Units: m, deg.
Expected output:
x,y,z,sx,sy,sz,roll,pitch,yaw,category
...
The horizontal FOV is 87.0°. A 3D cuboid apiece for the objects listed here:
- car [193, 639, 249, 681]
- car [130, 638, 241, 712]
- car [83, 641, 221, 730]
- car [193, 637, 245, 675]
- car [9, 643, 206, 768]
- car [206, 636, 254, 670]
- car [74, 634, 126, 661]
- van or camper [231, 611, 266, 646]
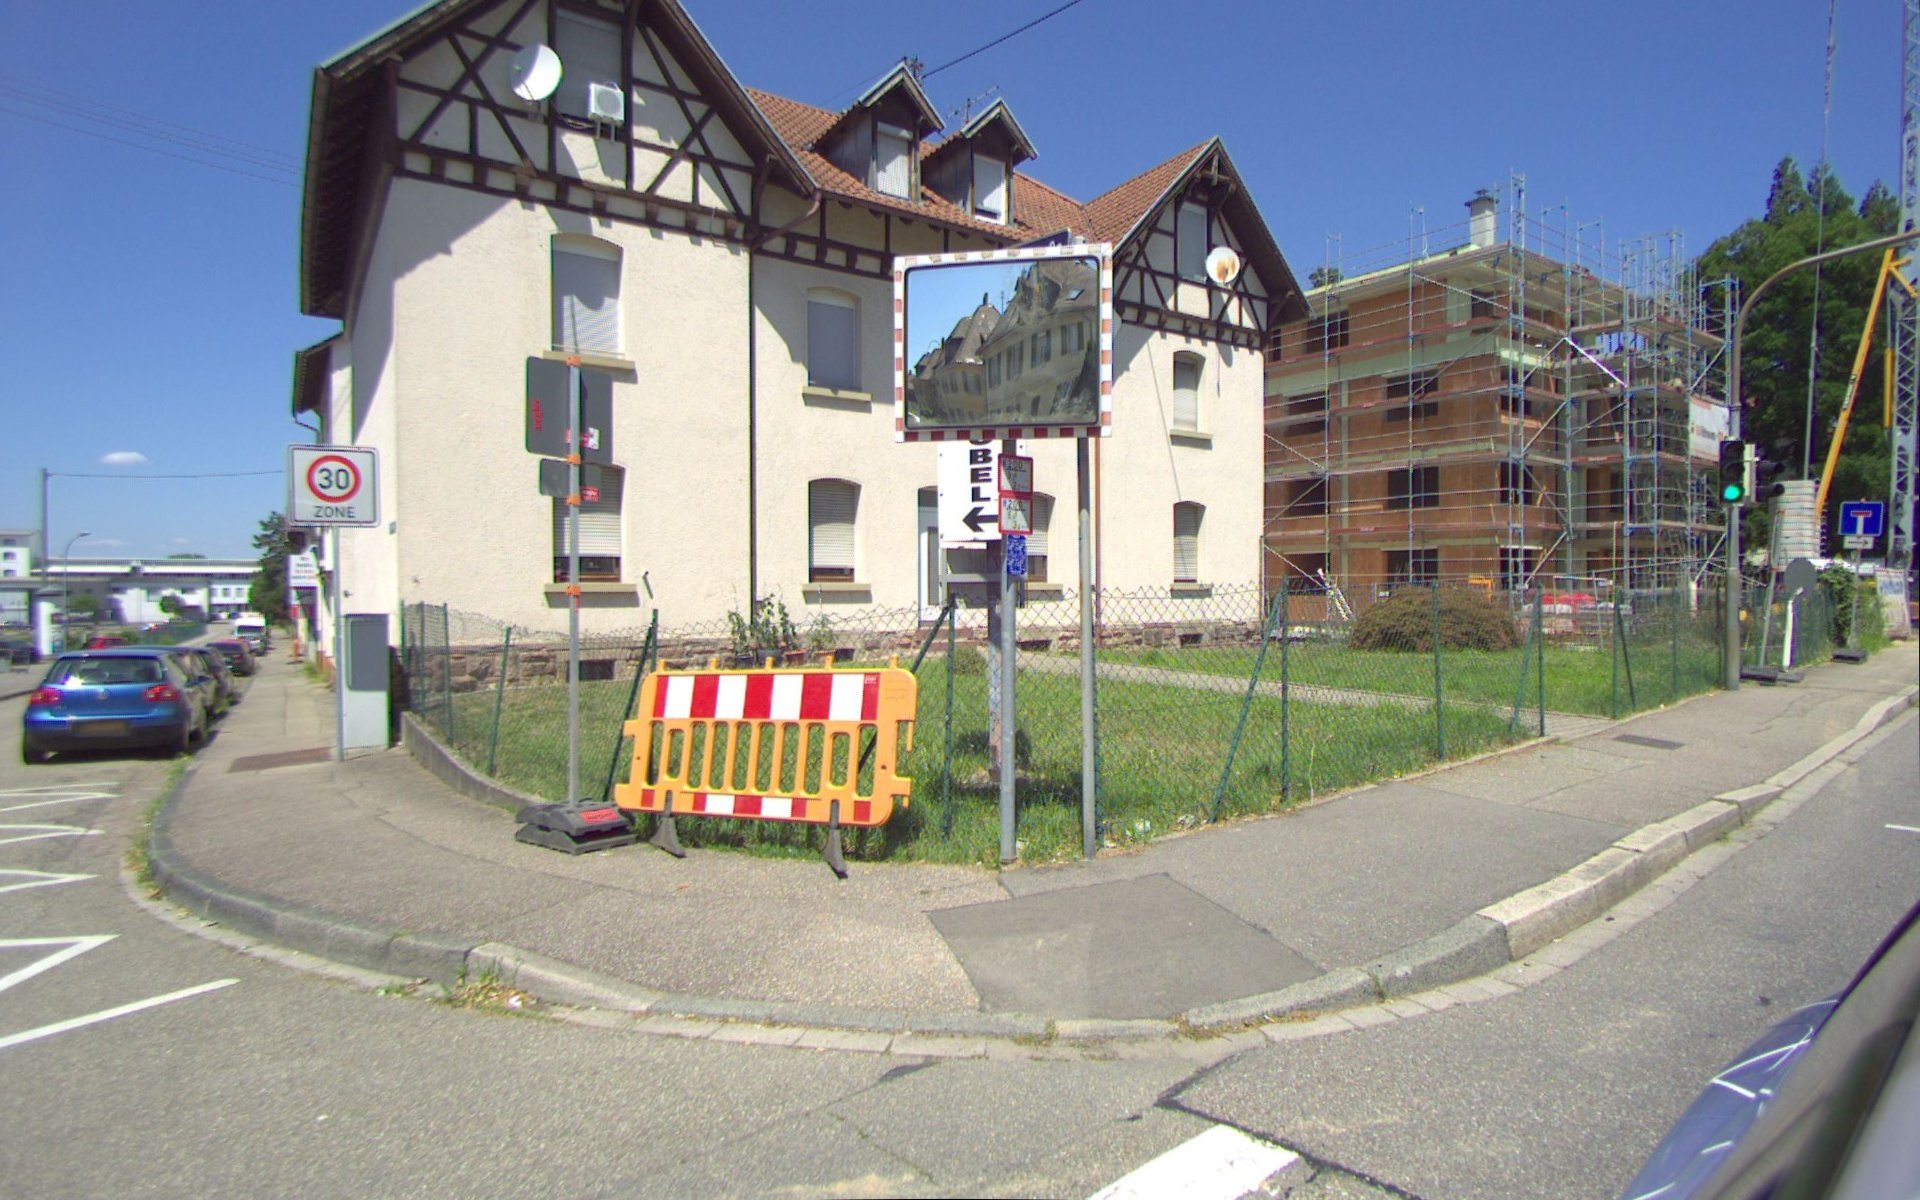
x,y,z,sx,sy,sz,roll,pitch,yaw,category
-30.320,2.416,41.491,1.795,1.565,3.398,0,-2,-38,car
-17.521,1.629,23.049,1.781,1.462,3.895,0,-2,-34,car
-15.307,1.552,19.343,1.781,1.462,3.628,0,-2,-34,car
-33.139,2.479,45.212,1.795,1.565,3.398,0,-2,-38,car
-12.095,1.396,14.606,1.781,1.462,3.895,0,-2,-34,car
-35.547,2.562,49.271,1.795,1.565,3.398,0,-2,-38,car
-55.186,3.047,64.923,3.876,1.677,1.783,-3,-2,37,car
-56.301,2.289,80.105,2.183,2.633,5.030,0,-2,-35,van or camper
